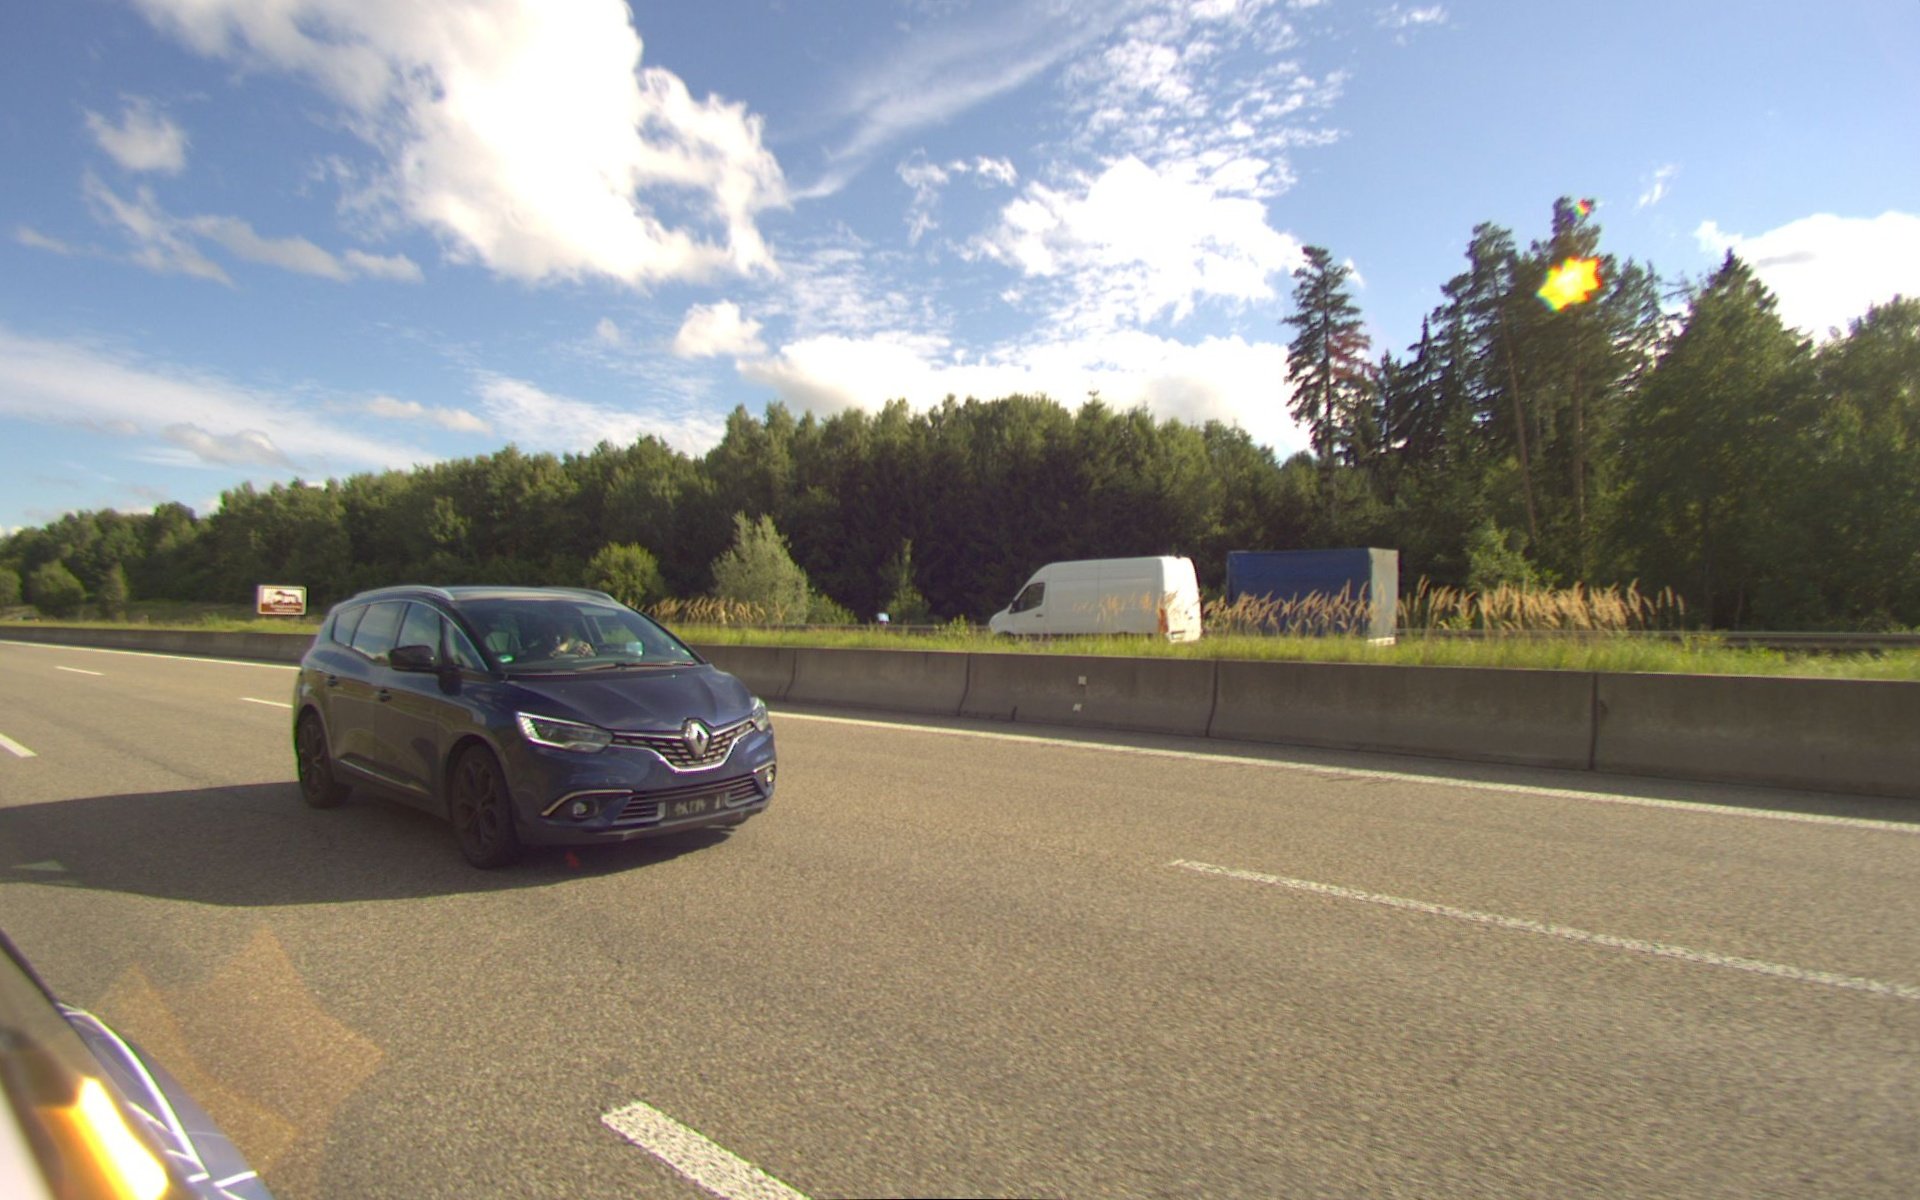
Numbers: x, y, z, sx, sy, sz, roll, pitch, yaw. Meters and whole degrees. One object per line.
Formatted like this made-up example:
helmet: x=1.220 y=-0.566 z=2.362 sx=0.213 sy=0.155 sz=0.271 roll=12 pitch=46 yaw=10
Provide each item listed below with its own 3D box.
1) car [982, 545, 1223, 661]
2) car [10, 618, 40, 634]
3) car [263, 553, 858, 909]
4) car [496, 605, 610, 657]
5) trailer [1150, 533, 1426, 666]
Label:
car: x=3.578 y=0.111 z=26.262 sx=5.883 sy=2.704 sz=2.247 roll=-1 pitch=-1 yaw=40
car: x=-105.157 y=2.891 z=113.775 sx=4.045 sy=1.760 sz=1.974 roll=-1 pitch=-1 yaw=39
car: x=-3.018 y=0.662 z=7.121 sx=4.525 sy=1.719 sz=1.974 roll=-1 pitch=0 yaw=40
car: x=-12.654 y=0.942 z=31.426 sx=3.572 sy=1.518 sz=1.869 roll=-1 pitch=-1 yaw=41
trailer: x=7.359 y=0.027 z=23.089 sx=5.558 sy=2.704 sz=2.247 roll=-1 pitch=-1 yaw=40
